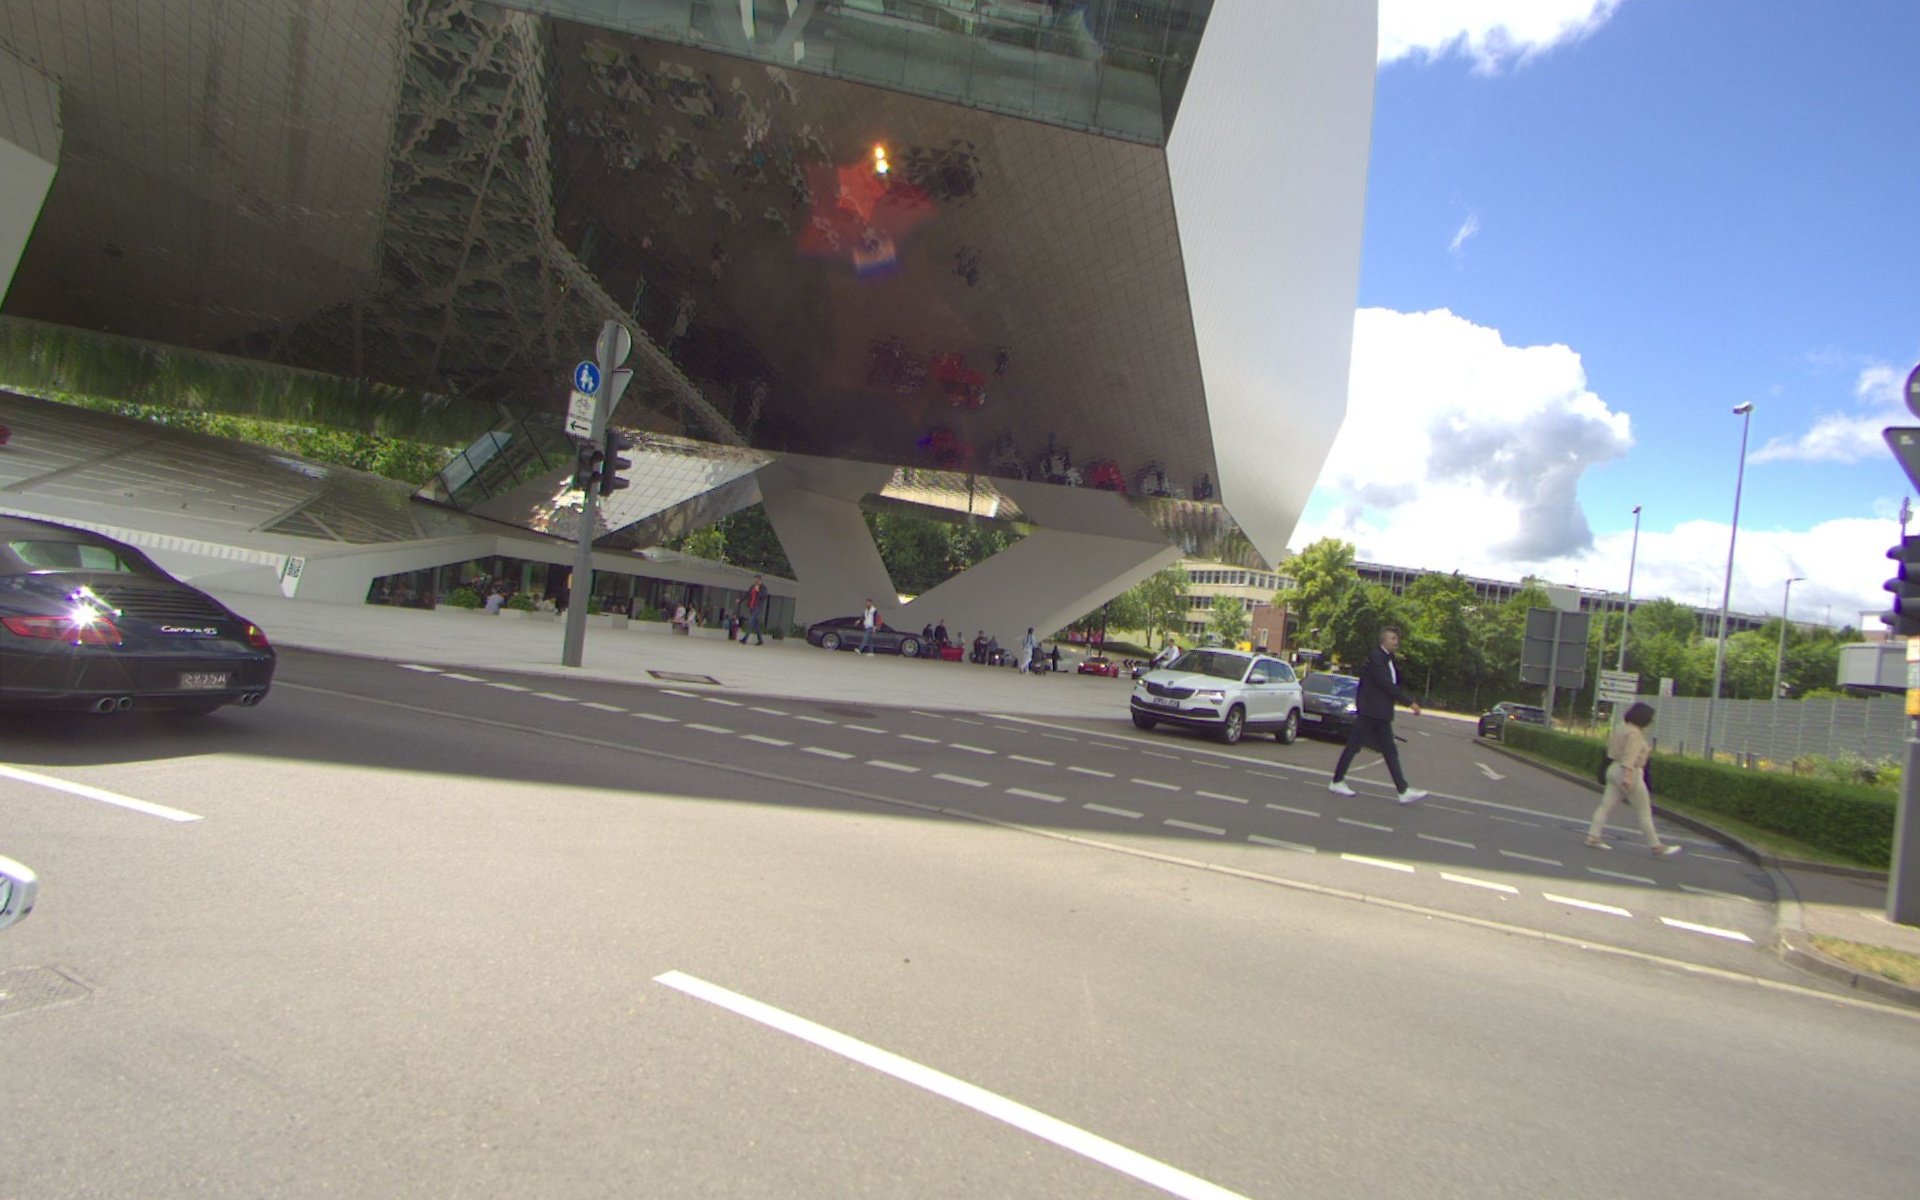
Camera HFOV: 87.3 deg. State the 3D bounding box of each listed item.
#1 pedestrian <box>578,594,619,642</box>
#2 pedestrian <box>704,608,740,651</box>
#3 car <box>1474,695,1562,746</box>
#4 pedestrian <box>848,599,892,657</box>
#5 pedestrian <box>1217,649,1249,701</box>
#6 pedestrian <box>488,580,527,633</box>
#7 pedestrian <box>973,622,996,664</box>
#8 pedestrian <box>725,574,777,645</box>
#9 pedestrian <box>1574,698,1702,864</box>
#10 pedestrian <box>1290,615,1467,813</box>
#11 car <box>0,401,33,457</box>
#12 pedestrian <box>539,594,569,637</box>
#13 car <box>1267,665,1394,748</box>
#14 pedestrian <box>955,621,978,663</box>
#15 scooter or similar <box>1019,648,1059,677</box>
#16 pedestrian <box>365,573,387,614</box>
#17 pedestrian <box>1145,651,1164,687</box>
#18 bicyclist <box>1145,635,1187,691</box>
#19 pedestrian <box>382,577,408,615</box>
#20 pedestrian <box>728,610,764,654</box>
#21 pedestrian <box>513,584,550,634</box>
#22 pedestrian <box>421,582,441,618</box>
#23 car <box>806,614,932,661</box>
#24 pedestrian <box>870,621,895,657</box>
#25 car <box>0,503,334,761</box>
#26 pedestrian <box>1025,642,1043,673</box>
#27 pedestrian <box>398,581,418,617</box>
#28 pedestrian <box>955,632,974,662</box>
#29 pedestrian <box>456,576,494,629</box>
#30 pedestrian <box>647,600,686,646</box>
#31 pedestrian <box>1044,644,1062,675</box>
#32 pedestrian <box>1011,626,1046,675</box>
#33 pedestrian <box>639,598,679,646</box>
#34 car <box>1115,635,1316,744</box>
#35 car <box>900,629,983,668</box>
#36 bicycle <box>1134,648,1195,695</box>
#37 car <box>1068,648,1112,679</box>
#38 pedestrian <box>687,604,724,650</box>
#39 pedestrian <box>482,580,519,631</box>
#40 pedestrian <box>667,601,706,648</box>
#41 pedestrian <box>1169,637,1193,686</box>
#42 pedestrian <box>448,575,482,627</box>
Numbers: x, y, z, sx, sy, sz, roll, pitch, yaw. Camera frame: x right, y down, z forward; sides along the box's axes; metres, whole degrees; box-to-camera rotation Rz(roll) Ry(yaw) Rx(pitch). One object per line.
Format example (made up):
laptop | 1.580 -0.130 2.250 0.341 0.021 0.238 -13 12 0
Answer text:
pedestrian | -12.966 0.641 36.072 0.907 1.590 0.831 6 -2 25
pedestrian | -9.608 1.174 40.640 0.908 1.590 0.829 6 -2 31
car | 23.399 5.013 42.351 1.962 1.721 4.007 6 -3 11
pedestrian | -2.843 0.897 31.821 0.907 1.695 0.831 6 -2 25
pedestrian | 11.480 3.149 42.333 0.765 2.036 0.825 7 -2 -18
pedestrian | -14.693 0.203 32.654 0.913 1.590 0.825 8 -2 -29
pedestrian | 1.270 2.195 51.274 0.762 2.036 0.829 6 -2 16
pedestrian | -5.832 0.278 28.142 0.907 1.846 0.831 6 -2 25
pedestrian | 6.828 1.804 10.152 0.757 1.513 0.584 7 -2 2
pedestrian | 4.799 1.287 11.589 0.950 2.008 1.366 8 0 -40
car | -28.748 -5.290 27.521 4.446 1.410 1.995 15 1 -10
pedestrian | -13.719 0.533 34.018 0.633 1.333 0.693 7 -2 -8
car | 8.299 2.370 22.299 1.807 1.399 4.155 8 -2 31
pedestrian | 0.340 2.173 51.718 0.762 2.036 0.829 6 -2 16
scooter or similar | 2.770 2.189 35.340 0.933 0.849 1.113 6 -3 30
pedestrian | -18.829 -0.201 32.440 0.395 1.267 0.393 5 -3 45
pedestrian | 11.875 4.216 61.385 0.763 2.036 0.828 6 -2 23
bicyclist | 6.687 2.031 32.601 0.930 1.672 0.764 8 -3 -40
pedestrian | -19.816 -0.129 35.314 0.553 1.267 0.473 7 -2 -16
pedestrian | -8.601 1.291 40.452 0.908 1.590 0.829 6 -2 31
pedestrian | -14.461 0.308 33.998 0.781 1.590 0.693 7 -2 -4
pedestrian | -20.028 -0.001 38.107 0.470 1.267 0.557 8 -2 -34
car | -3.497 1.483 39.378 4.591 1.234 2.002 7 -3 1
pedestrian | -4.060 2.066 53.035 0.767 1.758 0.823 5 -3 44
car | -6.717 0.014 6.907 3.924 1.341 1.841 8 0 15
pedestrian | 4.498 3.506 61.320 0.762 1.758 0.829 6 -2 18
pedestrian | -20.667 -0.042 37.674 0.470 1.267 0.557 8 -2 -34
pedestrian | 0.272 2.888 61.754 0.762 1.758 0.828 6 -2 19
pedestrian | -15.573 0.073 32.315 0.823 1.590 0.916 8 -2 -33
pedestrian | -11.090 0.869 37.989 0.907 1.590 0.831 6 -2 25
pedestrian | 5.644 3.632 61.001 0.762 1.758 0.828 6 -2 19
pedestrian | 2.373 1.753 34.632 0.790 1.558 0.786 6 -2 30
pedestrian | -10.995 0.806 36.769 0.907 1.590 0.831 6 -2 25
car | 4.610 1.582 17.791 1.813 1.568 3.983 5 -2 40
car | -0.985 2.606 53.912 3.973 1.566 1.979 10 -4 -40
bicycle | 6.633 2.320 32.579 1.913 1.288 0.772 9 -3 -40
car | 8.230 4.029 63.516 1.853 1.572 4.005 6 -3 19
pedestrian | -9.817 1.045 38.806 0.907 1.590 0.831 6 -2 25
pedestrian | -15.407 0.173 33.724 0.913 1.590 0.825 8 -2 -29
pedestrian | -10.227 0.924 37.582 0.907 1.590 0.831 6 -2 25
pedestrian | 9.805 2.737 44.641 0.762 2.036 0.829 6 -2 16
pedestrian | -16.396 0.026 33.319 0.821 1.590 0.917 8 -2 -29
